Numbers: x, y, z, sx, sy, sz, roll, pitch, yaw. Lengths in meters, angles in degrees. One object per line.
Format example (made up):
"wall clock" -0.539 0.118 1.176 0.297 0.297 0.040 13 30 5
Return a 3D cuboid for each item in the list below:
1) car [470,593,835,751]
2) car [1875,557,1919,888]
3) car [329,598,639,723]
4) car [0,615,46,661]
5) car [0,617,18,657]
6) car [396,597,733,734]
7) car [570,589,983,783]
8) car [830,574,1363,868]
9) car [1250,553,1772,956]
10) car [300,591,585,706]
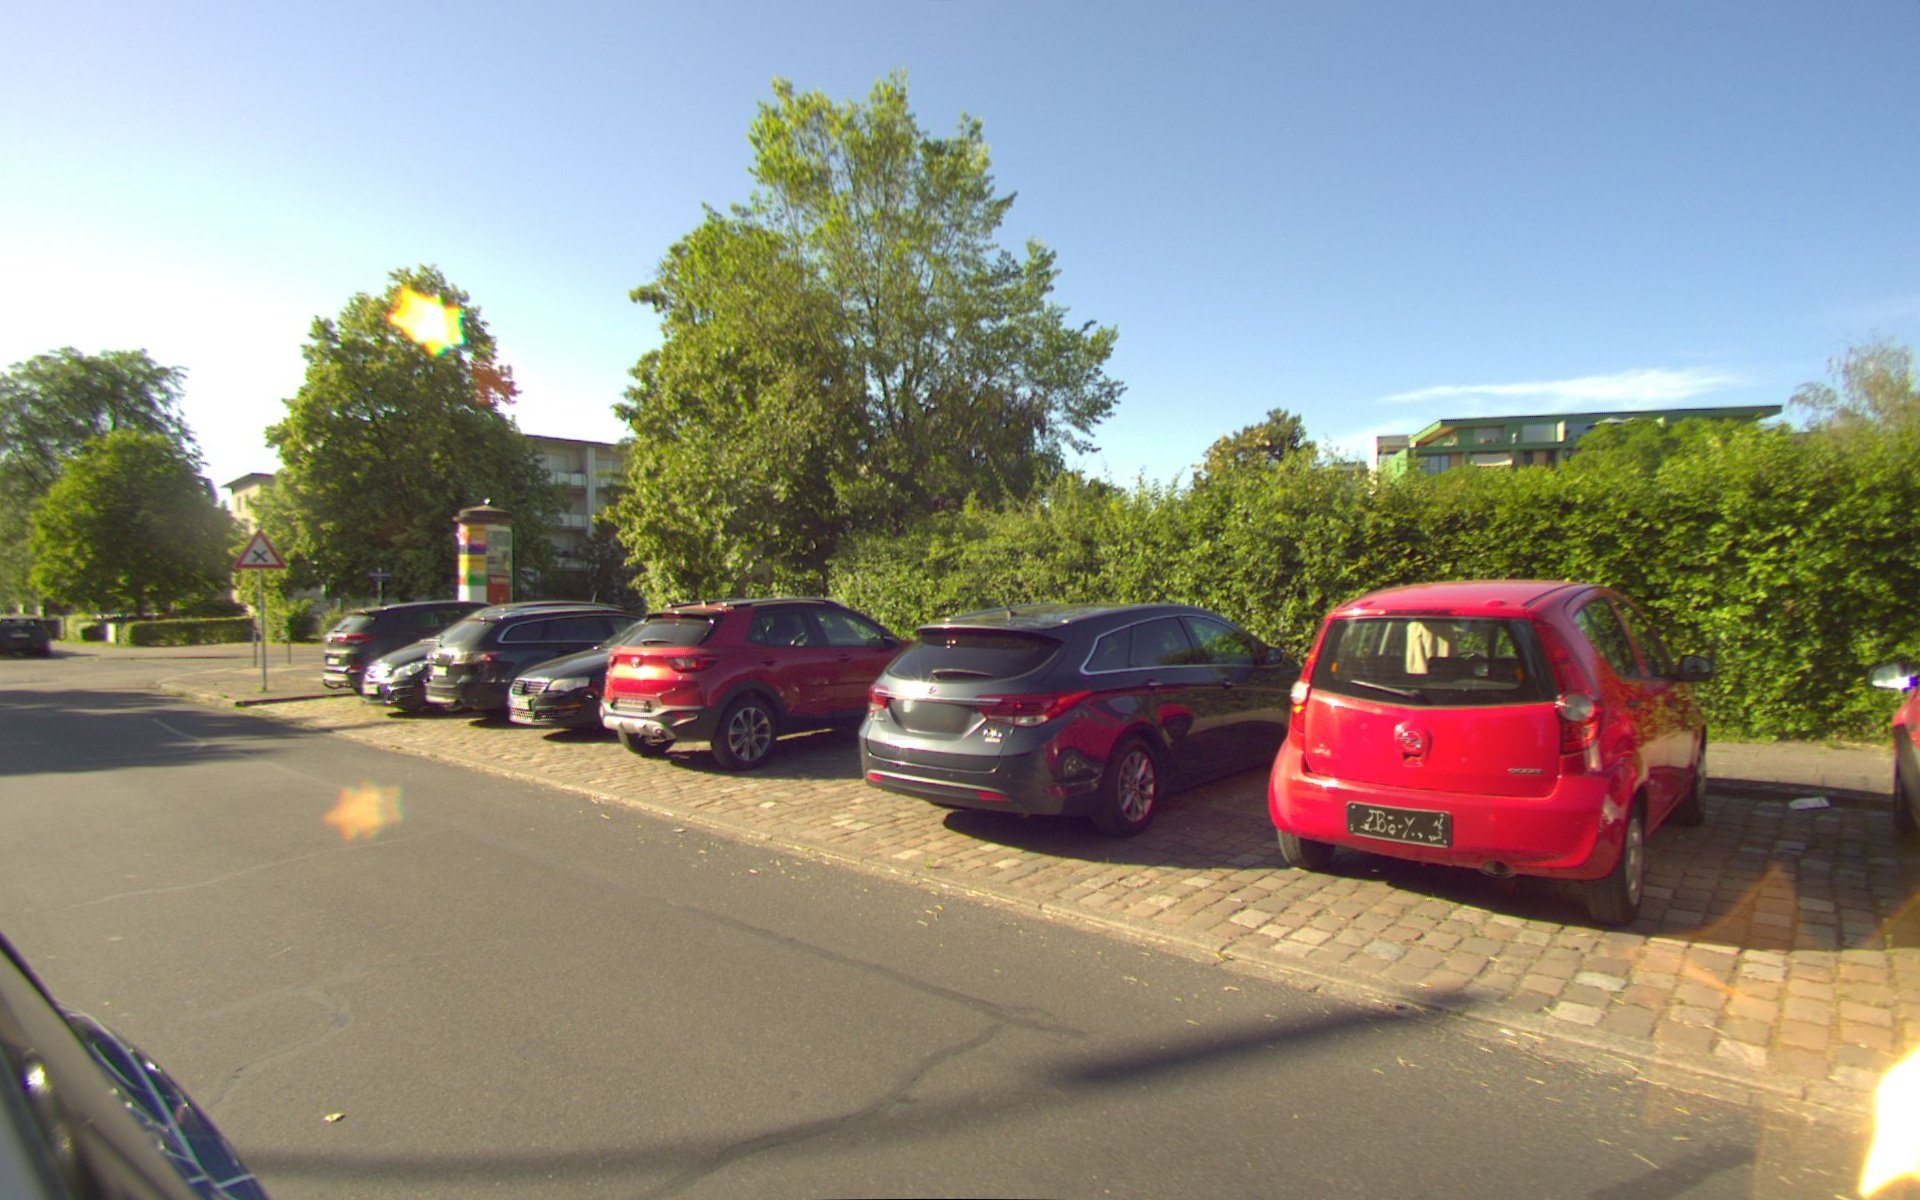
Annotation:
"car" -3.712 0.749 12.760 1.905 1.524 3.978 -1 2 40
"car" 5.152 0.582 4.086 1.849 1.579 3.568 -2 1 38
"car" -7.269 0.825 15.760 1.831 1.544 3.946 -1 2 40
"car" -35.115 1.395 37.277 4.423 1.586 1.760 -2 -1 43
"car" -42.384 1.581 43.973 3.648 1.695 1.793 -2 -3 43
"car" -5.479 0.796 14.393 1.812 1.524 4.048 0 2 43
"car" -1.710 0.721 10.479 1.789 1.490 3.948 -2 1 40
"car" 1.323 0.632 7.706 1.747 1.490 4.496 -2 1 42
"car" 3.428 0.575 5.966 1.881 1.579 3.564 -2 1 42
"car" -9.143 0.758 18.155 1.845 1.668 4.145 -1 2 40
